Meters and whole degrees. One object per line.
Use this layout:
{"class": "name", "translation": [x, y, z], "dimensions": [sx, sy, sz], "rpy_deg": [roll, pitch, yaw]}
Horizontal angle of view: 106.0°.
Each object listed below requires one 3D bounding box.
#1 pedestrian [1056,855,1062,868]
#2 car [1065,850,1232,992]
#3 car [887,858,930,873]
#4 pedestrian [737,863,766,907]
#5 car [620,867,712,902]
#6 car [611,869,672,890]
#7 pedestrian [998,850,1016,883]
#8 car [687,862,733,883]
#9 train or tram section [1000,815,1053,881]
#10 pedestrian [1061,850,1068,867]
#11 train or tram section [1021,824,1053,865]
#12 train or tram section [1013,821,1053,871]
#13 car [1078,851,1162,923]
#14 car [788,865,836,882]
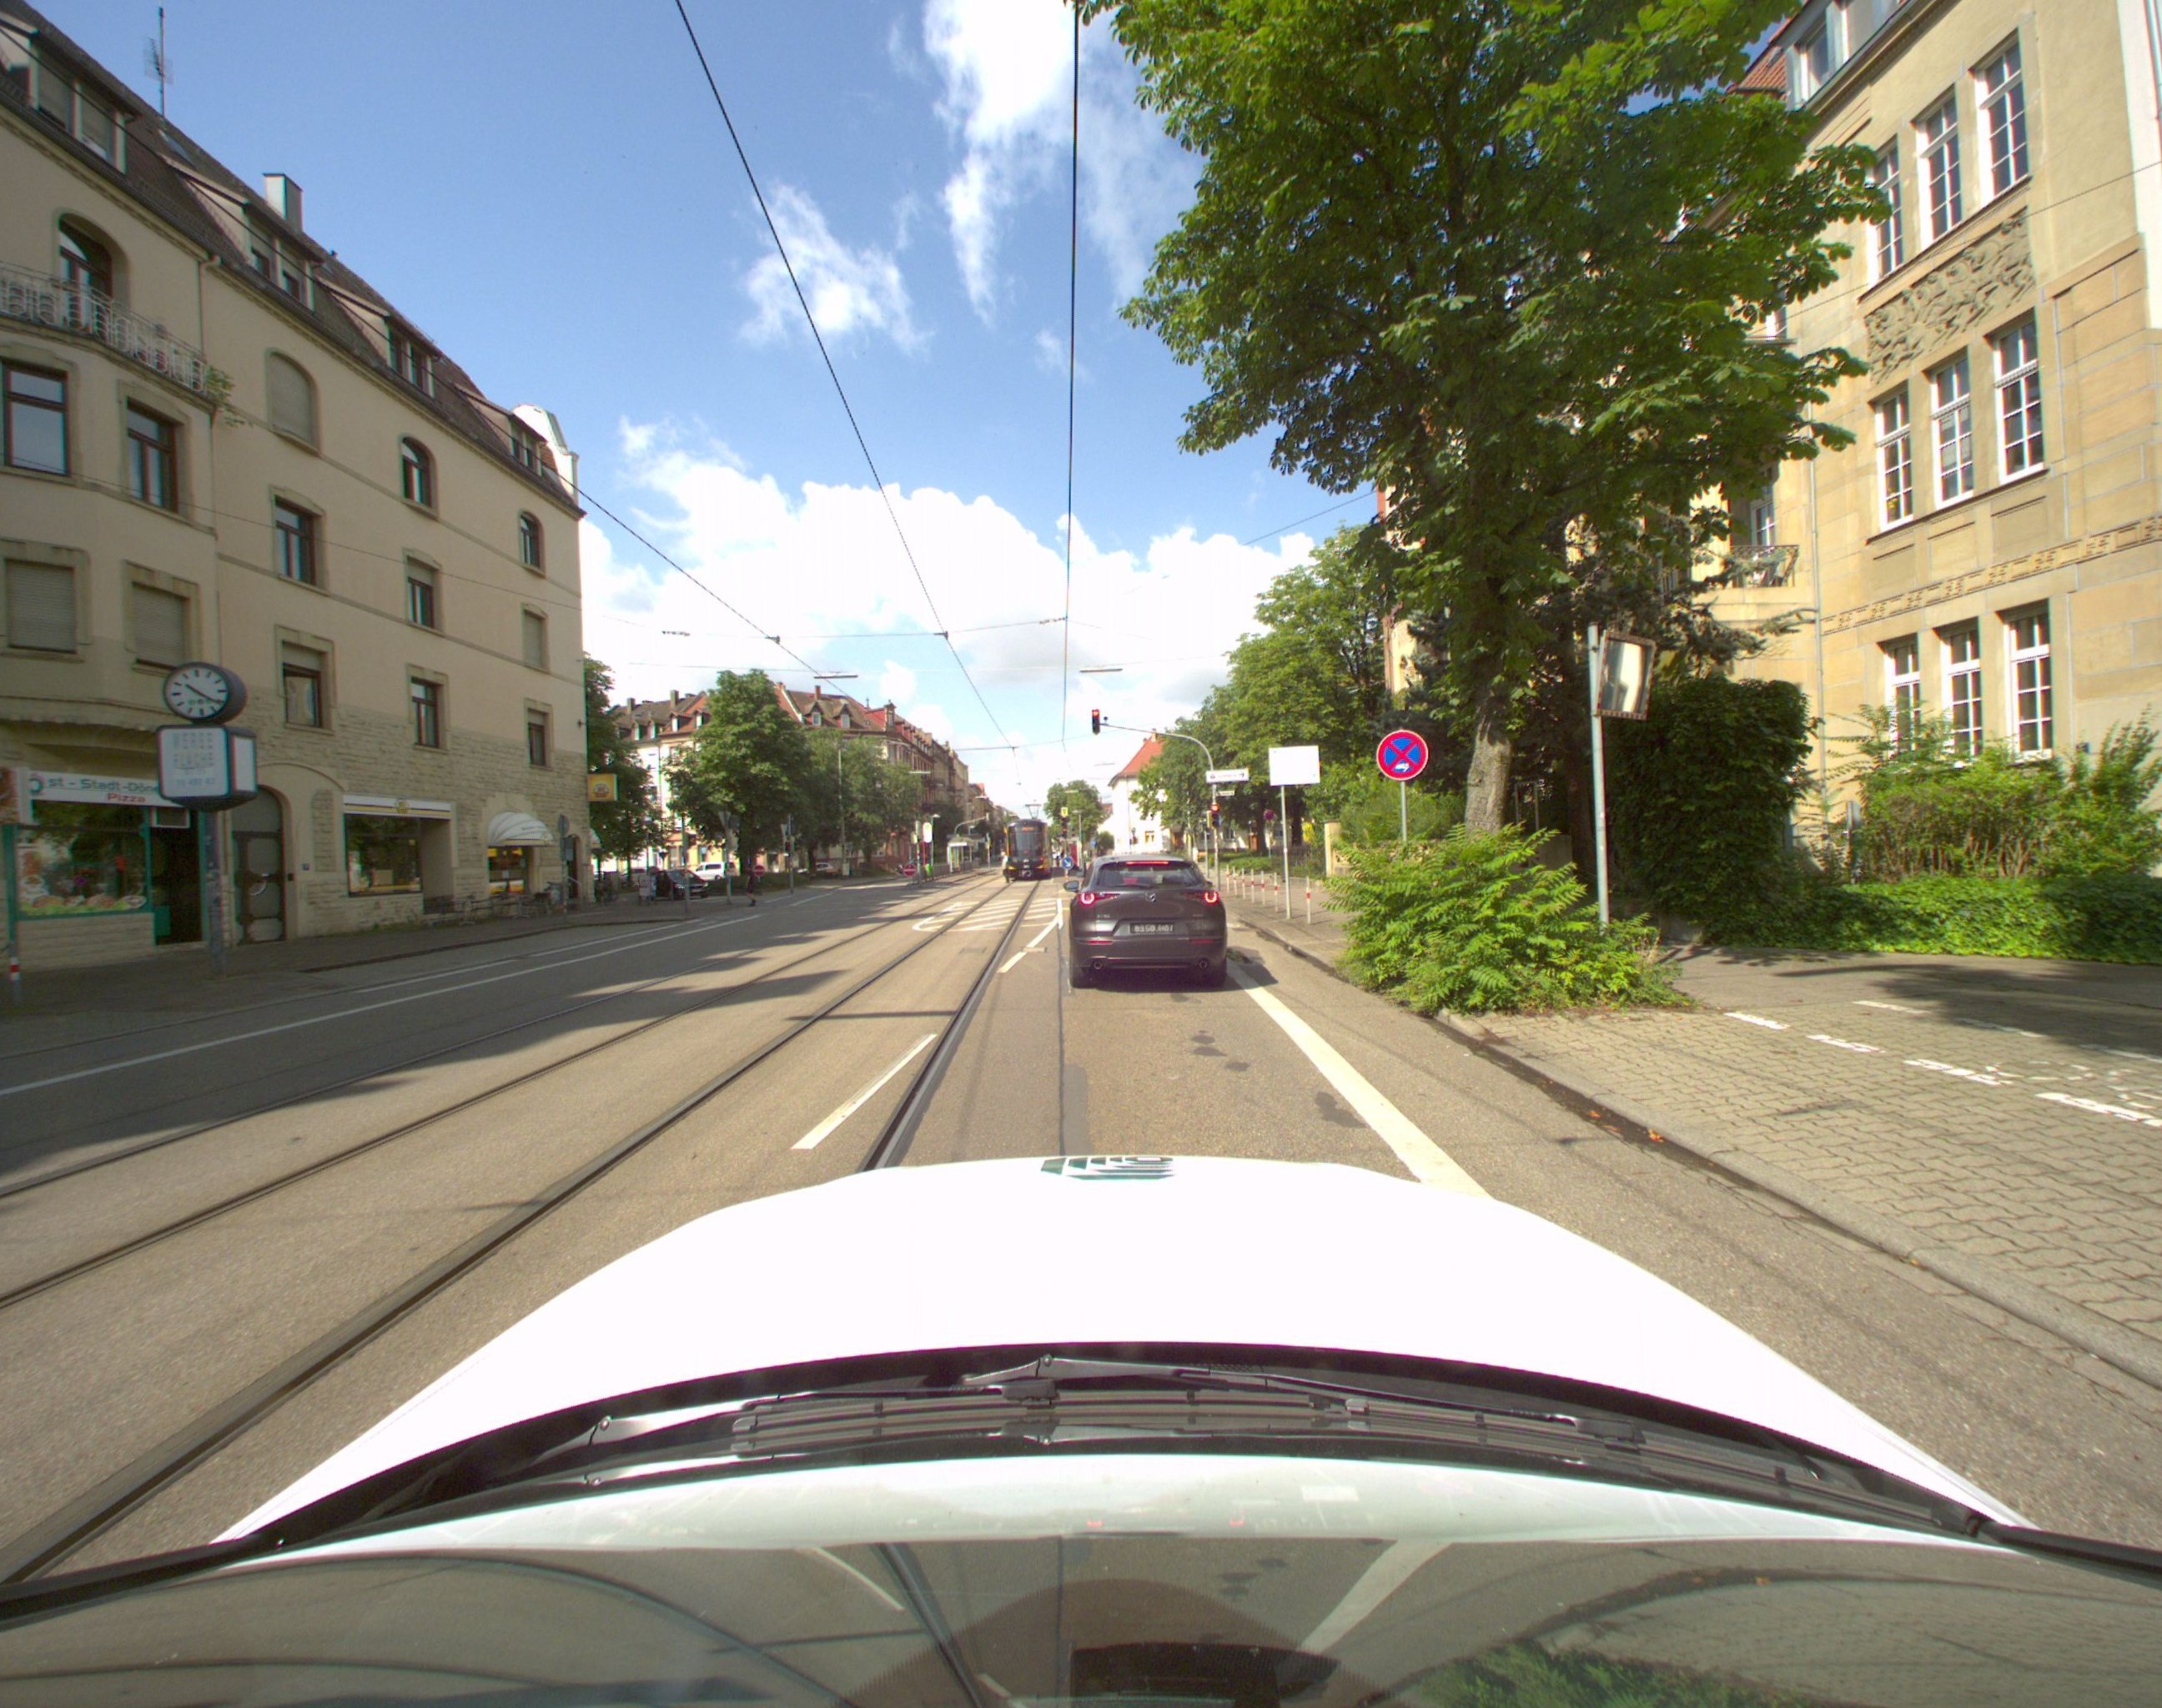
{"class": "pedestrian", "translation": [-1.828, 0.632, 67.752], "dimensions": [0.378, 1.071, 0.474], "rpy_deg": [-2, 0, -1]}
{"class": "car", "translation": [0.771, 0.710, 10.668], "dimensions": [1.772, 1.499, 4.001], "rpy_deg": [0, 0, 1]}
{"class": "car", "translation": [-17.938, 1.213, 84.812], "dimensions": [4.011, 1.360, 1.663], "rpy_deg": [-2, 0, -29]}
{"class": "pedestrian", "translation": [-13.052, 1.206, 32.292], "dimensions": [0.746, 1.684, 0.702], "rpy_deg": [-2, 0, 11]}
{"class": "car", "translation": [-20.925, 1.538, 41.120], "dimensions": [4.022, 1.518, 1.770], "rpy_deg": [-2, 0, 18]}
{"class": "car", "translation": [-37.074, 2.140, 68.824], "dimensions": [3.972, 1.596, 2.001], "rpy_deg": [-3, 0, 2]}
{"class": "pedestrian", "translation": [-3.931, 0.640, 43.188], "dimensions": [0.712, 1.705, 0.826], "rpy_deg": [-2, 0, 9]}
{"class": "car", "translation": [-36.860, 1.840, 80.974], "dimensions": [3.950, 1.903, 2.012], "rpy_deg": [-2, 0, 26]}
{"class": "train or tram section", "translation": [-3.204, -0.461, 51.583], "dimensions": [2.746, 3.490, 14.397], "rpy_deg": [-2, 1, -2]}
{"class": "pedestrian", "translation": [-1.371, 0.359, 67.857], "dimensions": [0.449, 1.434, 0.474], "rpy_deg": [-2, 0, -3]}
{"class": "train or tram section", "translation": [-4.238, -0.978, 80.361], "dimensions": [2.746, 3.490, 14.397], "rpy_deg": [-2, 1, -2]}
{"class": "train or tram section", "translation": [-3.715, -0.715, 65.965], "dimensions": [2.746, 3.490, 14.397], "rpy_deg": [-2, 1, -2]}
{"class": "car", "translation": [0.886, 0.697, 19.278], "dimensions": [1.772, 1.499, 4.001], "rpy_deg": [0, 0, 1]}
{"class": "car", "translation": [-25.548, 1.848, 77.397], "dimensions": [1.657, 1.360, 4.025], "rpy_deg": [-2, 0, 43]}
